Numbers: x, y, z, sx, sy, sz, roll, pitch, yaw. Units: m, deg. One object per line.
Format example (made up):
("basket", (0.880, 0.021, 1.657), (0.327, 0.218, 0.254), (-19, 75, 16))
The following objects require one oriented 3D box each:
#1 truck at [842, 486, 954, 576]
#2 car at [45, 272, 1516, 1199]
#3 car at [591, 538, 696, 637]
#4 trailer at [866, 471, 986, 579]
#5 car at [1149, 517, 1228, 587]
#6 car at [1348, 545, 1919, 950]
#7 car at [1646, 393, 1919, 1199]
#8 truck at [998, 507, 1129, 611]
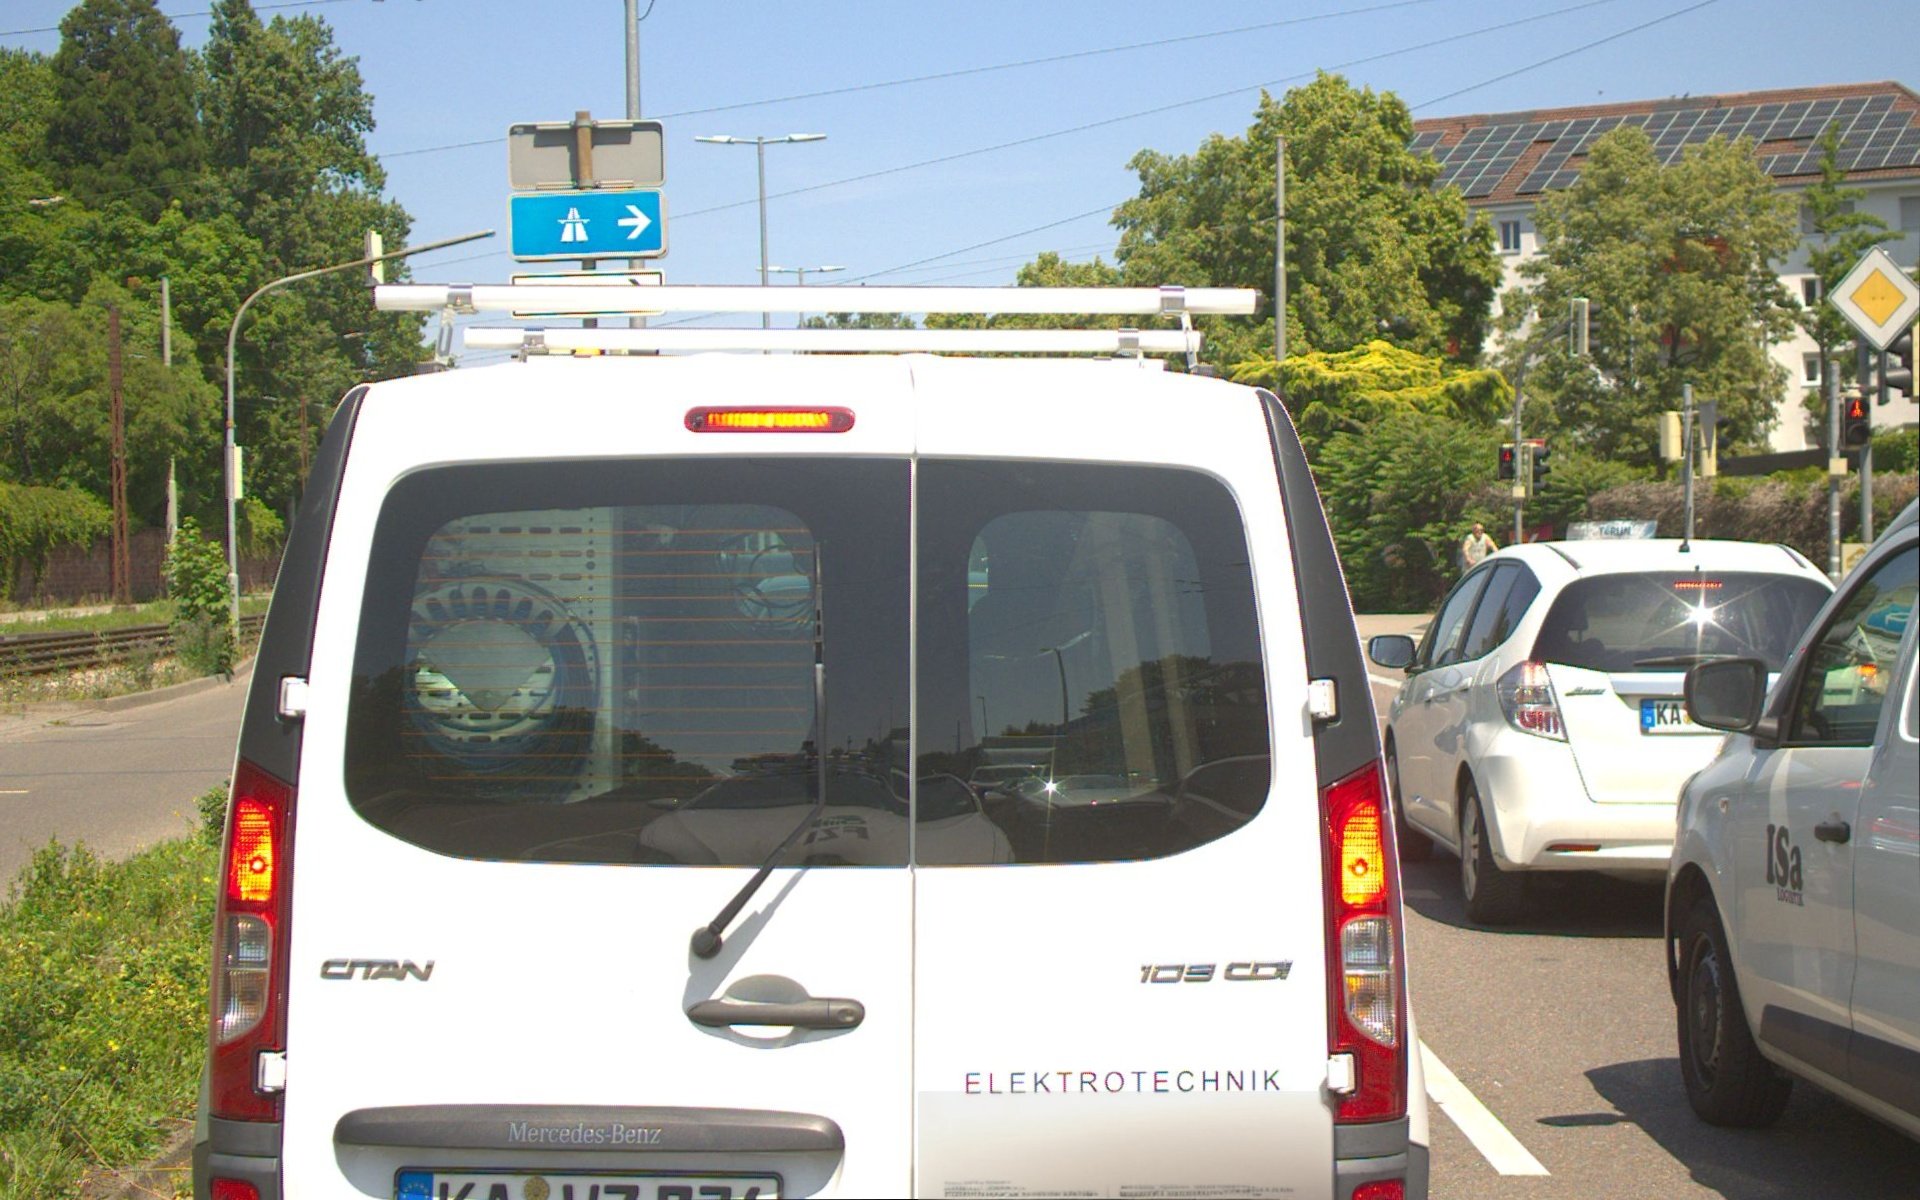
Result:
("truck", (-2.643, -2.859, 143.209), (3.575, 3.620, 8.811), (-1, 1, -8))
("car", (-0.276, 0.475, 6.325), (1.866, 1.829, 3.849), (1, 1, -1))
("car", (-6.589, -0.286, 71.937), (1.993, 2.007, 4.001), (-1, 1, -2))
("trailer", (-1.398, -2.919, 134.386), (3.527, 4.037, 8.979), (-1, 1, -8))
("car", (6.679, -1.411, 100.789), (1.993, 2.007, 4.000), (-1, 1, -1))
("car", (2.801, 0.519, 14.811), (1.756, 1.481, 4.000), (1, 1, -1))
("car", (2.763, 0.494, 7.362), (1.710, 1.824, 4.014), (0, 1, -1))
("truck", (2.171, -0.851, 69.916), (2.299, 2.007, 6.726), (0, 1, 5))
